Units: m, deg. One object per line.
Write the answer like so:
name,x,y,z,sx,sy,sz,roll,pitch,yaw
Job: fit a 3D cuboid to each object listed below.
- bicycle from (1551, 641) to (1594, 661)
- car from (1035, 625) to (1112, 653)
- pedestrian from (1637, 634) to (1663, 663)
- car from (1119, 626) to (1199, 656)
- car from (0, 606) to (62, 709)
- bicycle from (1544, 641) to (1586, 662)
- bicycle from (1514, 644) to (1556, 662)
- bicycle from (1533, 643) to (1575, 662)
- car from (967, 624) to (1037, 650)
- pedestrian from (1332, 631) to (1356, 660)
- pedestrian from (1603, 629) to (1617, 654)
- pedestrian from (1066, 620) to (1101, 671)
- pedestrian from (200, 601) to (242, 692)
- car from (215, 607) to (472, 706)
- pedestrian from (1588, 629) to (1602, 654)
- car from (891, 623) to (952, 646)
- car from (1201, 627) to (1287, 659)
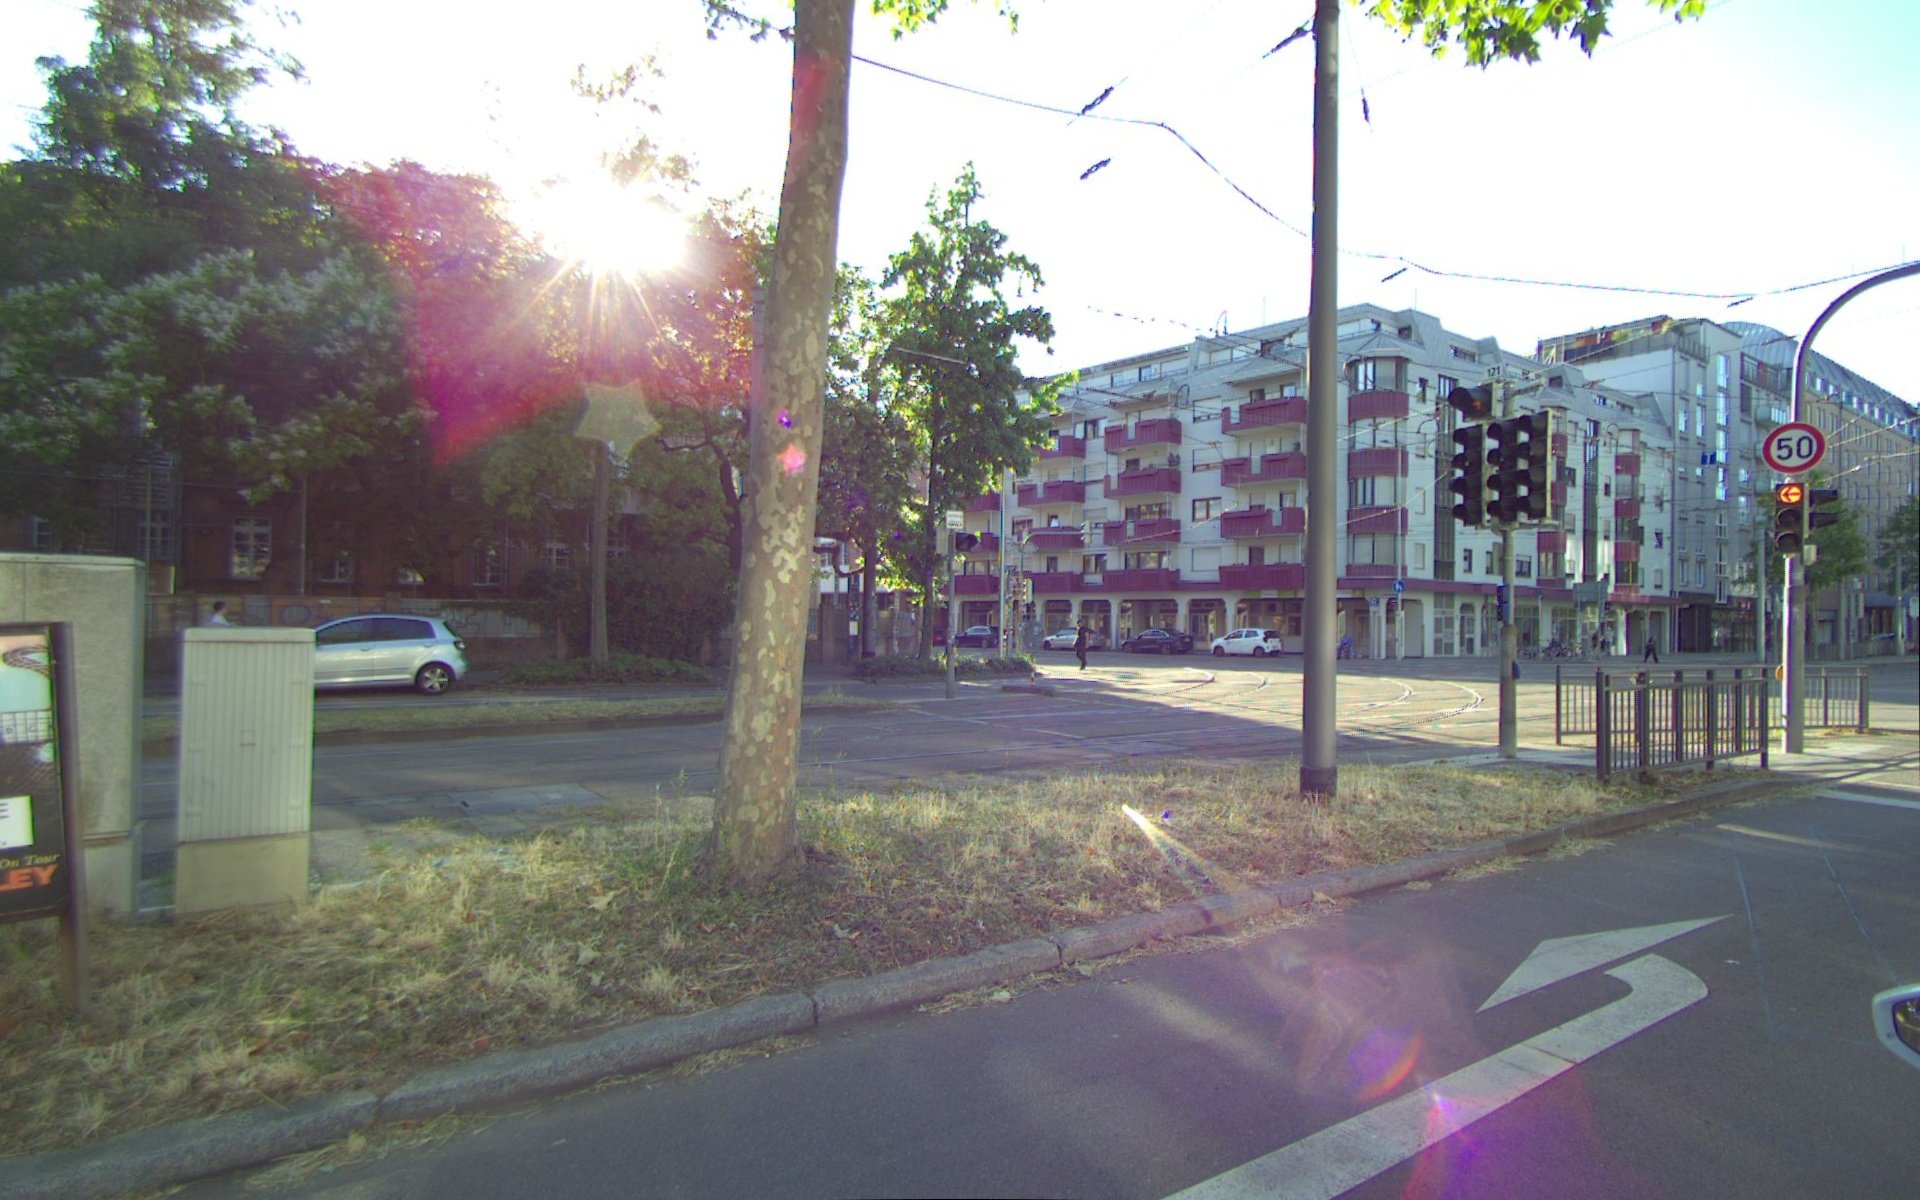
bicycle,31.979,2.663,52.452,0.548,0.998,1.830,1,-1,-36
car,6.888,2.351,61.193,1.986,1.576,4.527,2,-2,-42
pedestrian,37.930,2.663,55.224,0.681,1.564,1.049,1,-1,-3
car,11.161,2.269,56.607,1.986,1.576,4.072,2,-2,-42
car,-16.900,0.869,15.457,4.418,1.522,2.065,2,1,-38
bicycle,31.423,2.673,52.201,0.548,0.998,1.830,1,-1,-36
bicycle,29.493,2.686,51.527,0.547,0.865,1.833,1,-1,-32
bicycle,30.410,2.682,51.447,0.547,0.865,1.833,1,-1,-32
car,2.722,2.415,66.232,1.986,1.576,4.527,2,-2,-42
pedestrian,19.091,2.256,49.944,0.848,1.402,0.831,0,-1,45
pedestrian,39.543,2.544,61.117,0.582,1.514,0.530,1,-1,-38
pedestrian,4.376,1.594,35.620,1.010,1.775,0.728,1,-1,-38
pedestrian,-14.246,0.886,19.367,0.626,1.687,0.563,1,1,-37
car,-11.957,1.040,19.563,4.062,1.641,2.065,2,1,-38
pedestrian,38.967,2.529,61.652,0.582,1.514,0.530,1,-1,-38
car,-2.810,2.447,72.204,1.986,1.576,4.527,2,-2,-42
car,14.891,2.244,52.762,1.986,1.576,3.950,2,-2,-42
